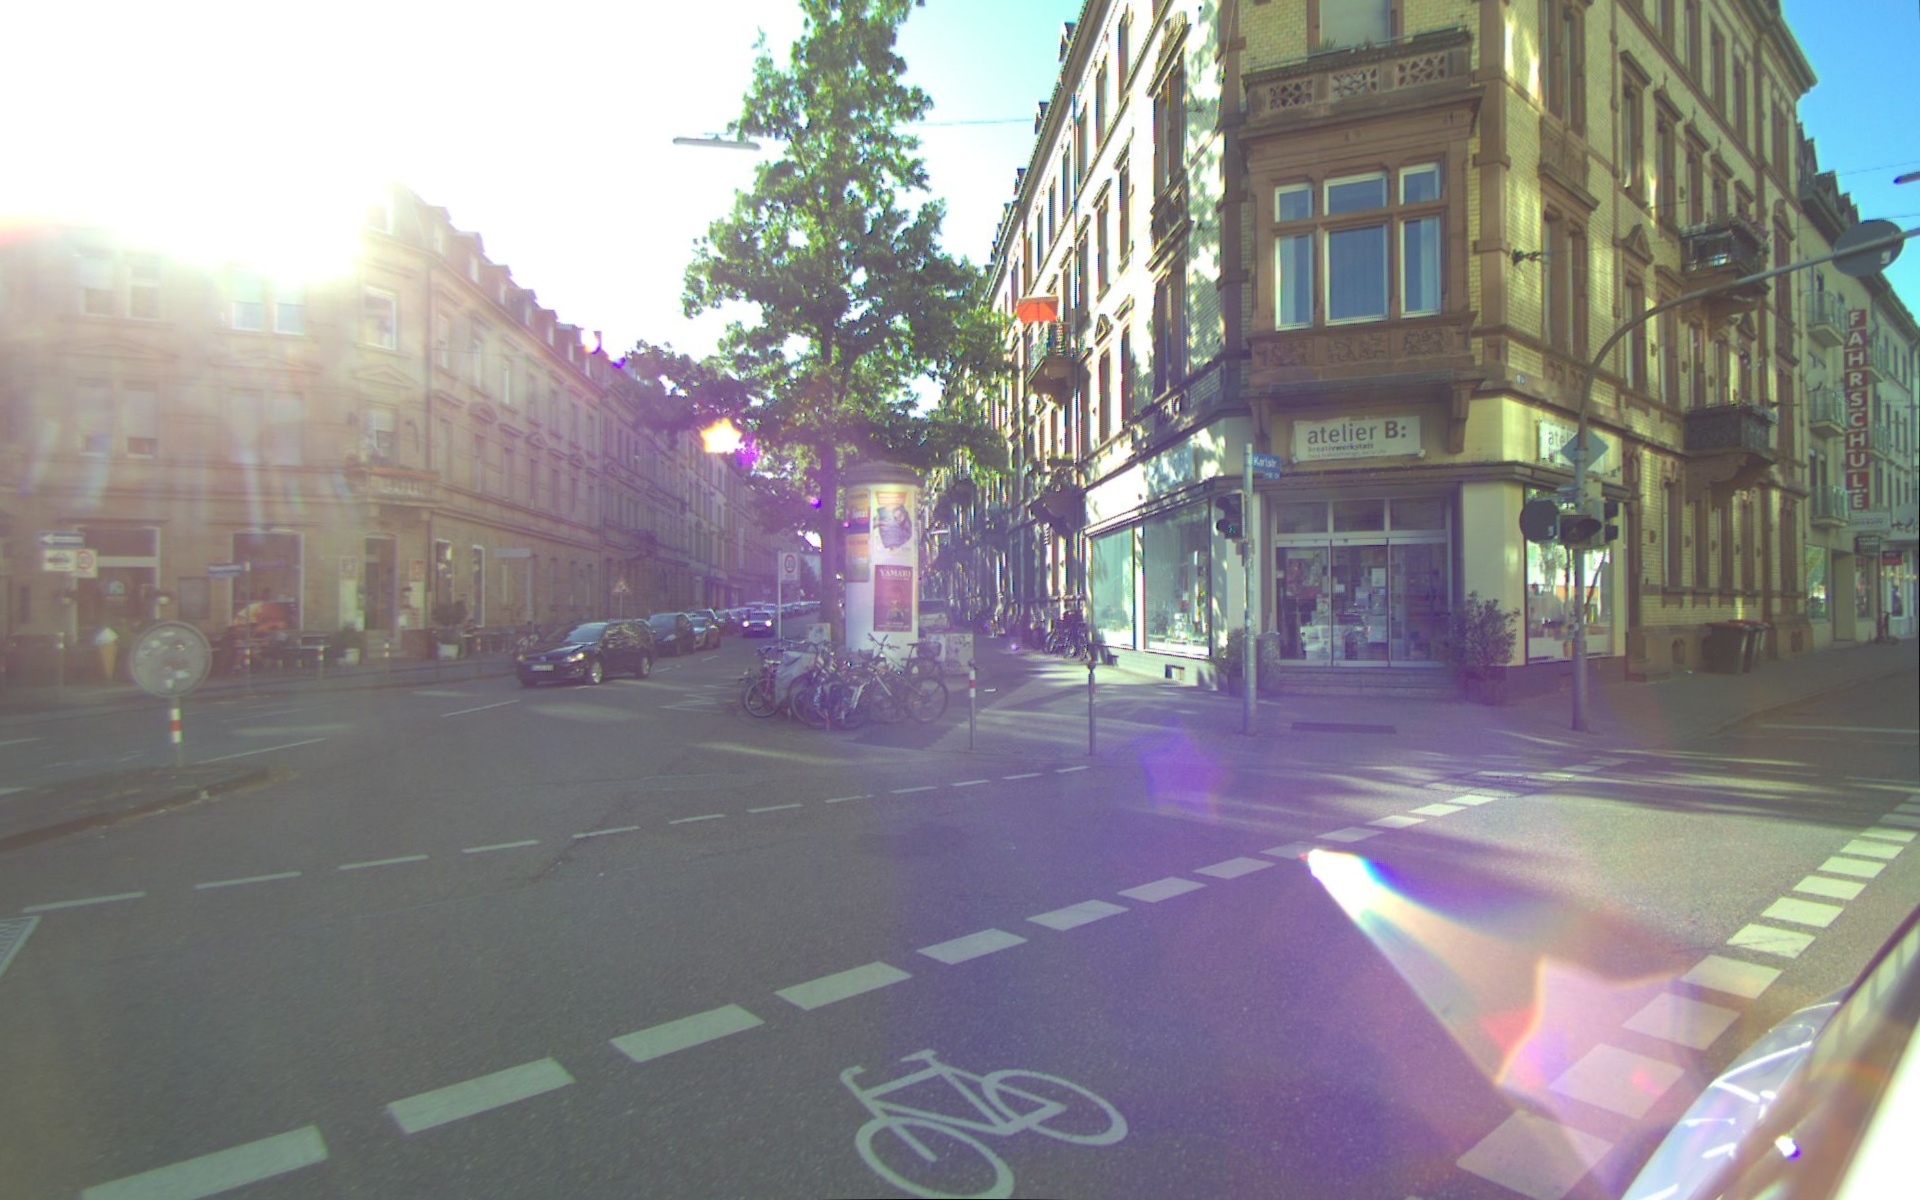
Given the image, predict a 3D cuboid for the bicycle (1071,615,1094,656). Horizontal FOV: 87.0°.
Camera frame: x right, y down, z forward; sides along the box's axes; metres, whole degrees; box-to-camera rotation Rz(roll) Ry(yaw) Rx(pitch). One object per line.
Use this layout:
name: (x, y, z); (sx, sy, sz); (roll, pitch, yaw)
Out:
bicycle: (3.130, 0.899, 25.875); (0.389, 1.017, 1.000); (0, -1, -5)

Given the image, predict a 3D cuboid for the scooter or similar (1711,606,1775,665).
scooter or similar: (16.844, 0.751, 21.770); (0.639, 1.162, 0.935); (0, 3, -42)

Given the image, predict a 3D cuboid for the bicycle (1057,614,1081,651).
bicycle: (2.964, 0.865, 27.505); (0.389, 0.969, 1.288); (0, 0, -5)

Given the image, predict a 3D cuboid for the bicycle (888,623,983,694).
bicycle: (-0.443, 1.045, 18.374); (1.583, 1.157, 0.545); (-3, 0, -18)

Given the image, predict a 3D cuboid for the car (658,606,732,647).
car: (-11.129, 1.082, 42.760); (1.812, 1.625, 4.246); (-1, 0, 3)

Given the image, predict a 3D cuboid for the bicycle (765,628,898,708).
bicycle: (-2.144, 1.105, 16.857); (2.076, 1.157, 0.619); (-3, 0, -18)

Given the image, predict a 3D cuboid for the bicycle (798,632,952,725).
bicycle: (-1.217, 1.097, 14.488); (2.076, 1.157, 0.619); (-2, 0, -18)

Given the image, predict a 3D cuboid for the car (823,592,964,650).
car: (-1.996, 0.589, 29.594); (3.917, 1.622, 1.828); (0, 0, -10)

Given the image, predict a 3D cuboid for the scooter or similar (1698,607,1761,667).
scooter or similar: (16.141, 0.753, 21.229); (0.538, 1.162, 0.899); (0, 4, -42)

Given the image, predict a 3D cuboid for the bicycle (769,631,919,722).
bicycle: (-1.714, 1.105, 14.974); (2.076, 1.157, 0.619); (-3, 0, -18)

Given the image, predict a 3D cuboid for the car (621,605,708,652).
car: (-11.005, 1.028, 37.971); (1.812, 1.625, 4.246); (-1, 0, 3)

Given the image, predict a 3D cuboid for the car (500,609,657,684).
car: (-8.836, 1.019, 23.851); (1.813, 1.517, 4.244); (-1, 0, 5)

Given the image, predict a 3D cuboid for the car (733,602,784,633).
car: (-11.447, 0.976, 57.791); (1.812, 1.625, 4.246); (-1, 0, 3)

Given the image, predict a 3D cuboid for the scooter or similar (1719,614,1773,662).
scooter or similar: (17.345, 0.828, 22.328); (0.669, 0.969, 0.792); (0, 3, -42)

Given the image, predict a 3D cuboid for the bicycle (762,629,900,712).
bicycle: (-2.069, 1.101, 16.225); (2.076, 1.157, 0.619); (-3, 0, -18)

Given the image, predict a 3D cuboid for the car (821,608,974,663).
car: (-1.739, 0.919, 27.323); (3.917, 1.389, 1.828); (0, 0, -10)

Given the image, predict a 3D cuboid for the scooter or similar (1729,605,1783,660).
scooter or similar: (18.288, 0.734, 23.256); (0.776, 1.162, 0.792); (0, 3, -42)

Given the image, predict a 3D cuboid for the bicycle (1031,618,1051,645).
bicycle: (2.572, 0.995, 32.240); (0.389, 0.808, 1.347); (0, 0, -5)

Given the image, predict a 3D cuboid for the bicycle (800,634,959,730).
bicycle: (-1.115, 1.109, 14.029); (2.076, 1.157, 0.619); (-2, 0, -18)

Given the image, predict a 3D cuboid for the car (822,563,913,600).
car: (-4.726, -0.945, 52.041); (4.577, 1.856, 1.552); (0, -1, -5)

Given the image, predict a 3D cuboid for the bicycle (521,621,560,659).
bicycle: (-12.435, 1.181, 30.043); (0.390, 1.056, 1.879); (0, 0, -1)

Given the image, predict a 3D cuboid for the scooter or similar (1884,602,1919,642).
scooter or similar: (34.006, 0.800, 36.394); (1.257, 1.293, 0.413); (5, 11, -25)

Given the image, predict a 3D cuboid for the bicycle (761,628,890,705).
bicycle: (-2.314, 1.116, 17.431); (2.076, 1.157, 0.619); (-3, 0, -18)

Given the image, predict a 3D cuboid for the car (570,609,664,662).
car: (-10.953, 1.081, 32.634); (1.809, 1.517, 4.253); (-1, 0, -4)

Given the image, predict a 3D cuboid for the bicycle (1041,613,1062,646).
bicycle: (2.770, 0.878, 30.634); (0.389, 0.969, 1.347); (0, 0, -5)

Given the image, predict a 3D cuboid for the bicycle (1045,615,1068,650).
bicycle: (2.756, 0.918, 28.963); (0.389, 0.969, 1.288); (0, -1, -5)

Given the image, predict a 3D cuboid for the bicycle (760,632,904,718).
bicycle: (-1.981, 1.137, 15.679); (2.076, 1.157, 0.619); (-3, 0, -18)
